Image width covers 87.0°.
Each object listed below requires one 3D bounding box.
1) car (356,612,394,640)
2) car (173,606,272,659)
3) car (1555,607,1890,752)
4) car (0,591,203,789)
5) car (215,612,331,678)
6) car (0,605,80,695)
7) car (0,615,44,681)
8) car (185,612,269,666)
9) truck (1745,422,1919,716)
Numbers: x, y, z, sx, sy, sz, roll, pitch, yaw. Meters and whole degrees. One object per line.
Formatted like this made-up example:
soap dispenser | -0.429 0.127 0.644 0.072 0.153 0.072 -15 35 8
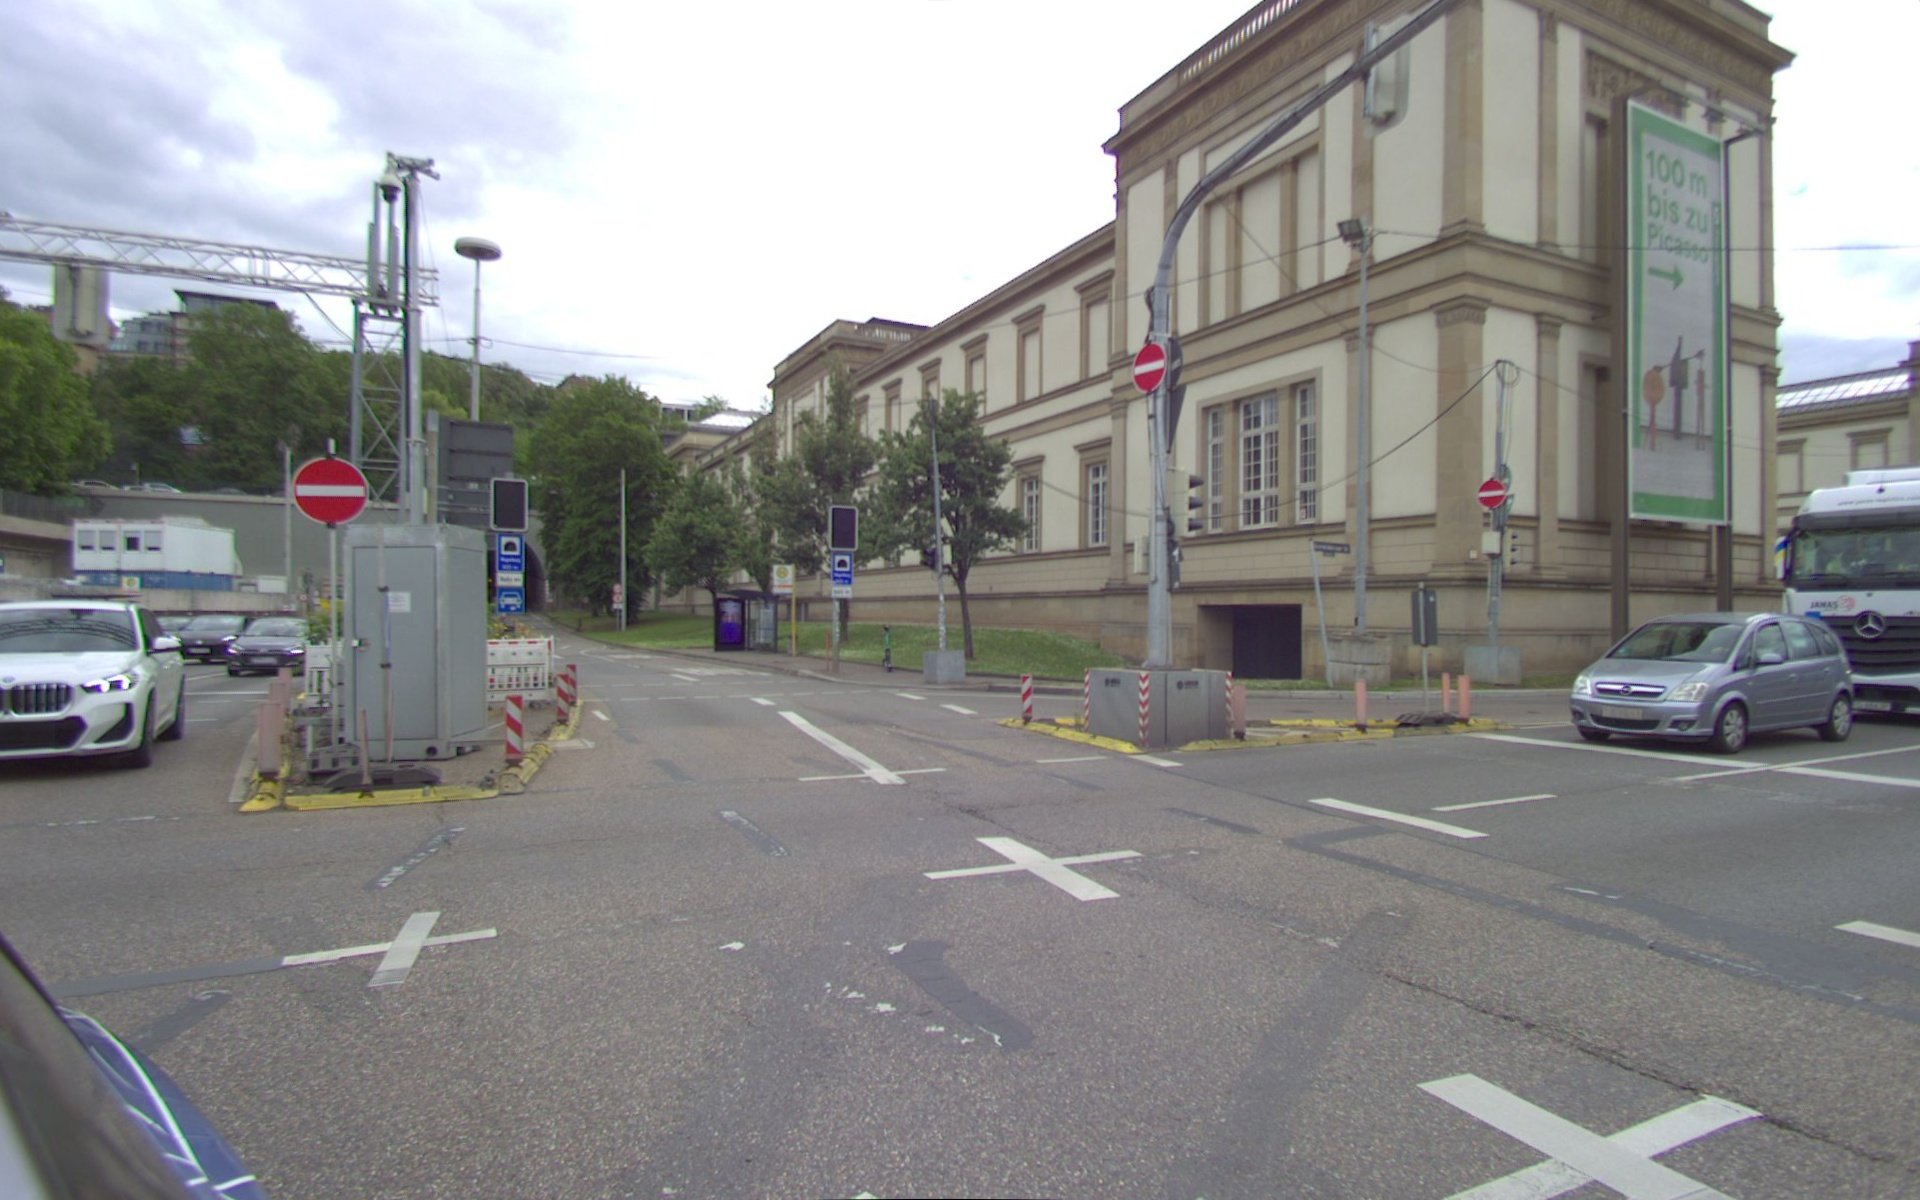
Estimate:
car | -34.117 1.508 59.085 1.542 1.586 3.300 1 -2 -23
car | -23.226 1.014 32.017 1.663 1.586 4.006 1 -2 -23
car | 9.548 0.868 12.639 4.060 1.515 1.777 -1 0 -28
car | -8.841 0.770 9.818 1.782 1.617 3.725 1 -2 -28
car | -17.637 1.102 26.169 1.965 1.564 4.013 1 -1 -27
car | -17.996 0.914 19.257 1.665 1.586 3.720 2 -2 -38
car | -23.992 1.149 24.182 1.780 1.591 4.453 1 -2 -24
car | -22.769 1.160 31.511 1.967 1.564 4.010 1 -1 -35
truck | 20.346 -0.363 18.447 16.326 4.114 2.936 0 -2 -28
